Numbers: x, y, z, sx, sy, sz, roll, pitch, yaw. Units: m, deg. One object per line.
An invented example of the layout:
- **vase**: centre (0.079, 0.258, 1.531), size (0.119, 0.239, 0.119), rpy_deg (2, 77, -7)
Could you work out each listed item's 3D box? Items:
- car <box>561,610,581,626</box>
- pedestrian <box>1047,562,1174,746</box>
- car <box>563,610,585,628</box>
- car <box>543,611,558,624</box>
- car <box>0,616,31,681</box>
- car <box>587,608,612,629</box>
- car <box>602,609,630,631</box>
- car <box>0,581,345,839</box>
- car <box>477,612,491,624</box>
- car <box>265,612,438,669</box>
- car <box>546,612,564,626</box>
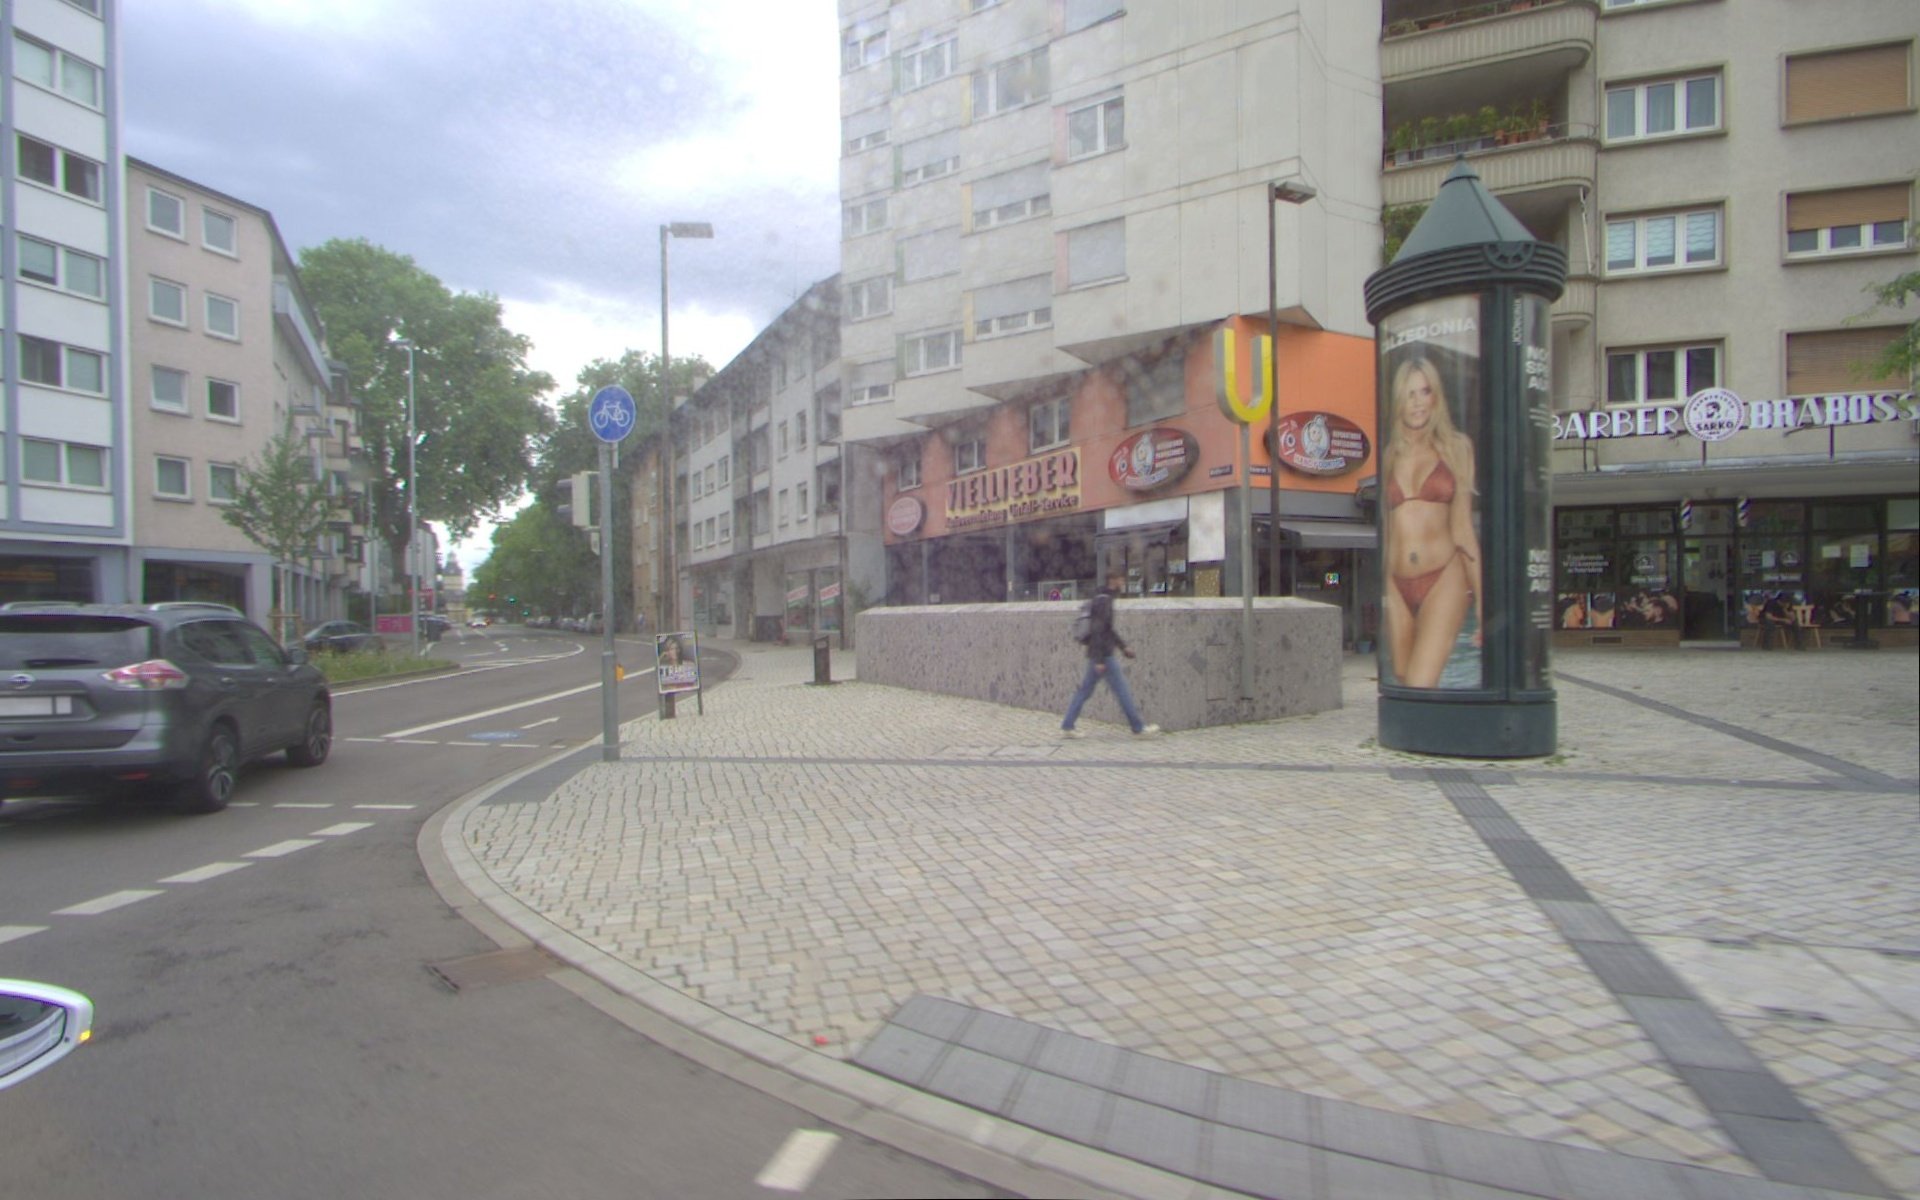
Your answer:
- **car**: centre (-44.496, 2.056, 114.608), size (1.840, 1.798, 3.968), rpy_deg (1, 0, -25)
- **pedestrian**: centre (1.638, 0.554, 10.826), size (1.135, 1.888, 0.802), rpy_deg (-1, 2, 27)
- **car**: centre (-40.562, 1.967, 105.127), size (1.840, 1.798, 3.968), rpy_deg (1, 0, -25)
- **car**: centre (-59.227, 2.572, 144.731), size (1.840, 1.798, 3.968), rpy_deg (1, 0, -25)
- **car**: centre (-23.483, 1.149, 21.791), size (1.716, 1.501, 4.561), rpy_deg (-1, 0, 15)
- **car**: centre (-33.050, 1.693, 91.744), size (1.840, 1.798, 3.968), rpy_deg (1, 0, -25)
- **car**: centre (-29.283, 1.678, 85.179), size (1.840, 1.798, 3.968), rpy_deg (1, 0, -25)
- **car**: centre (-7.288, 0.805, 9.183), size (1.837, 1.798, 4.556), rpy_deg (1, -1, -19)
- **car**: centre (-71.092, 2.695, 149.561), size (1.840, 1.798, 3.968), rpy_deg (1, 0, -25)
- **car**: centre (-17.855, 1.136, 29.664), size (1.716, 1.501, 4.563), rpy_deg (-1, 0, 12)
- **car**: centre (-52.751, 2.506, 130.418), size (1.840, 1.798, 3.968), rpy_deg (1, 0, -25)
